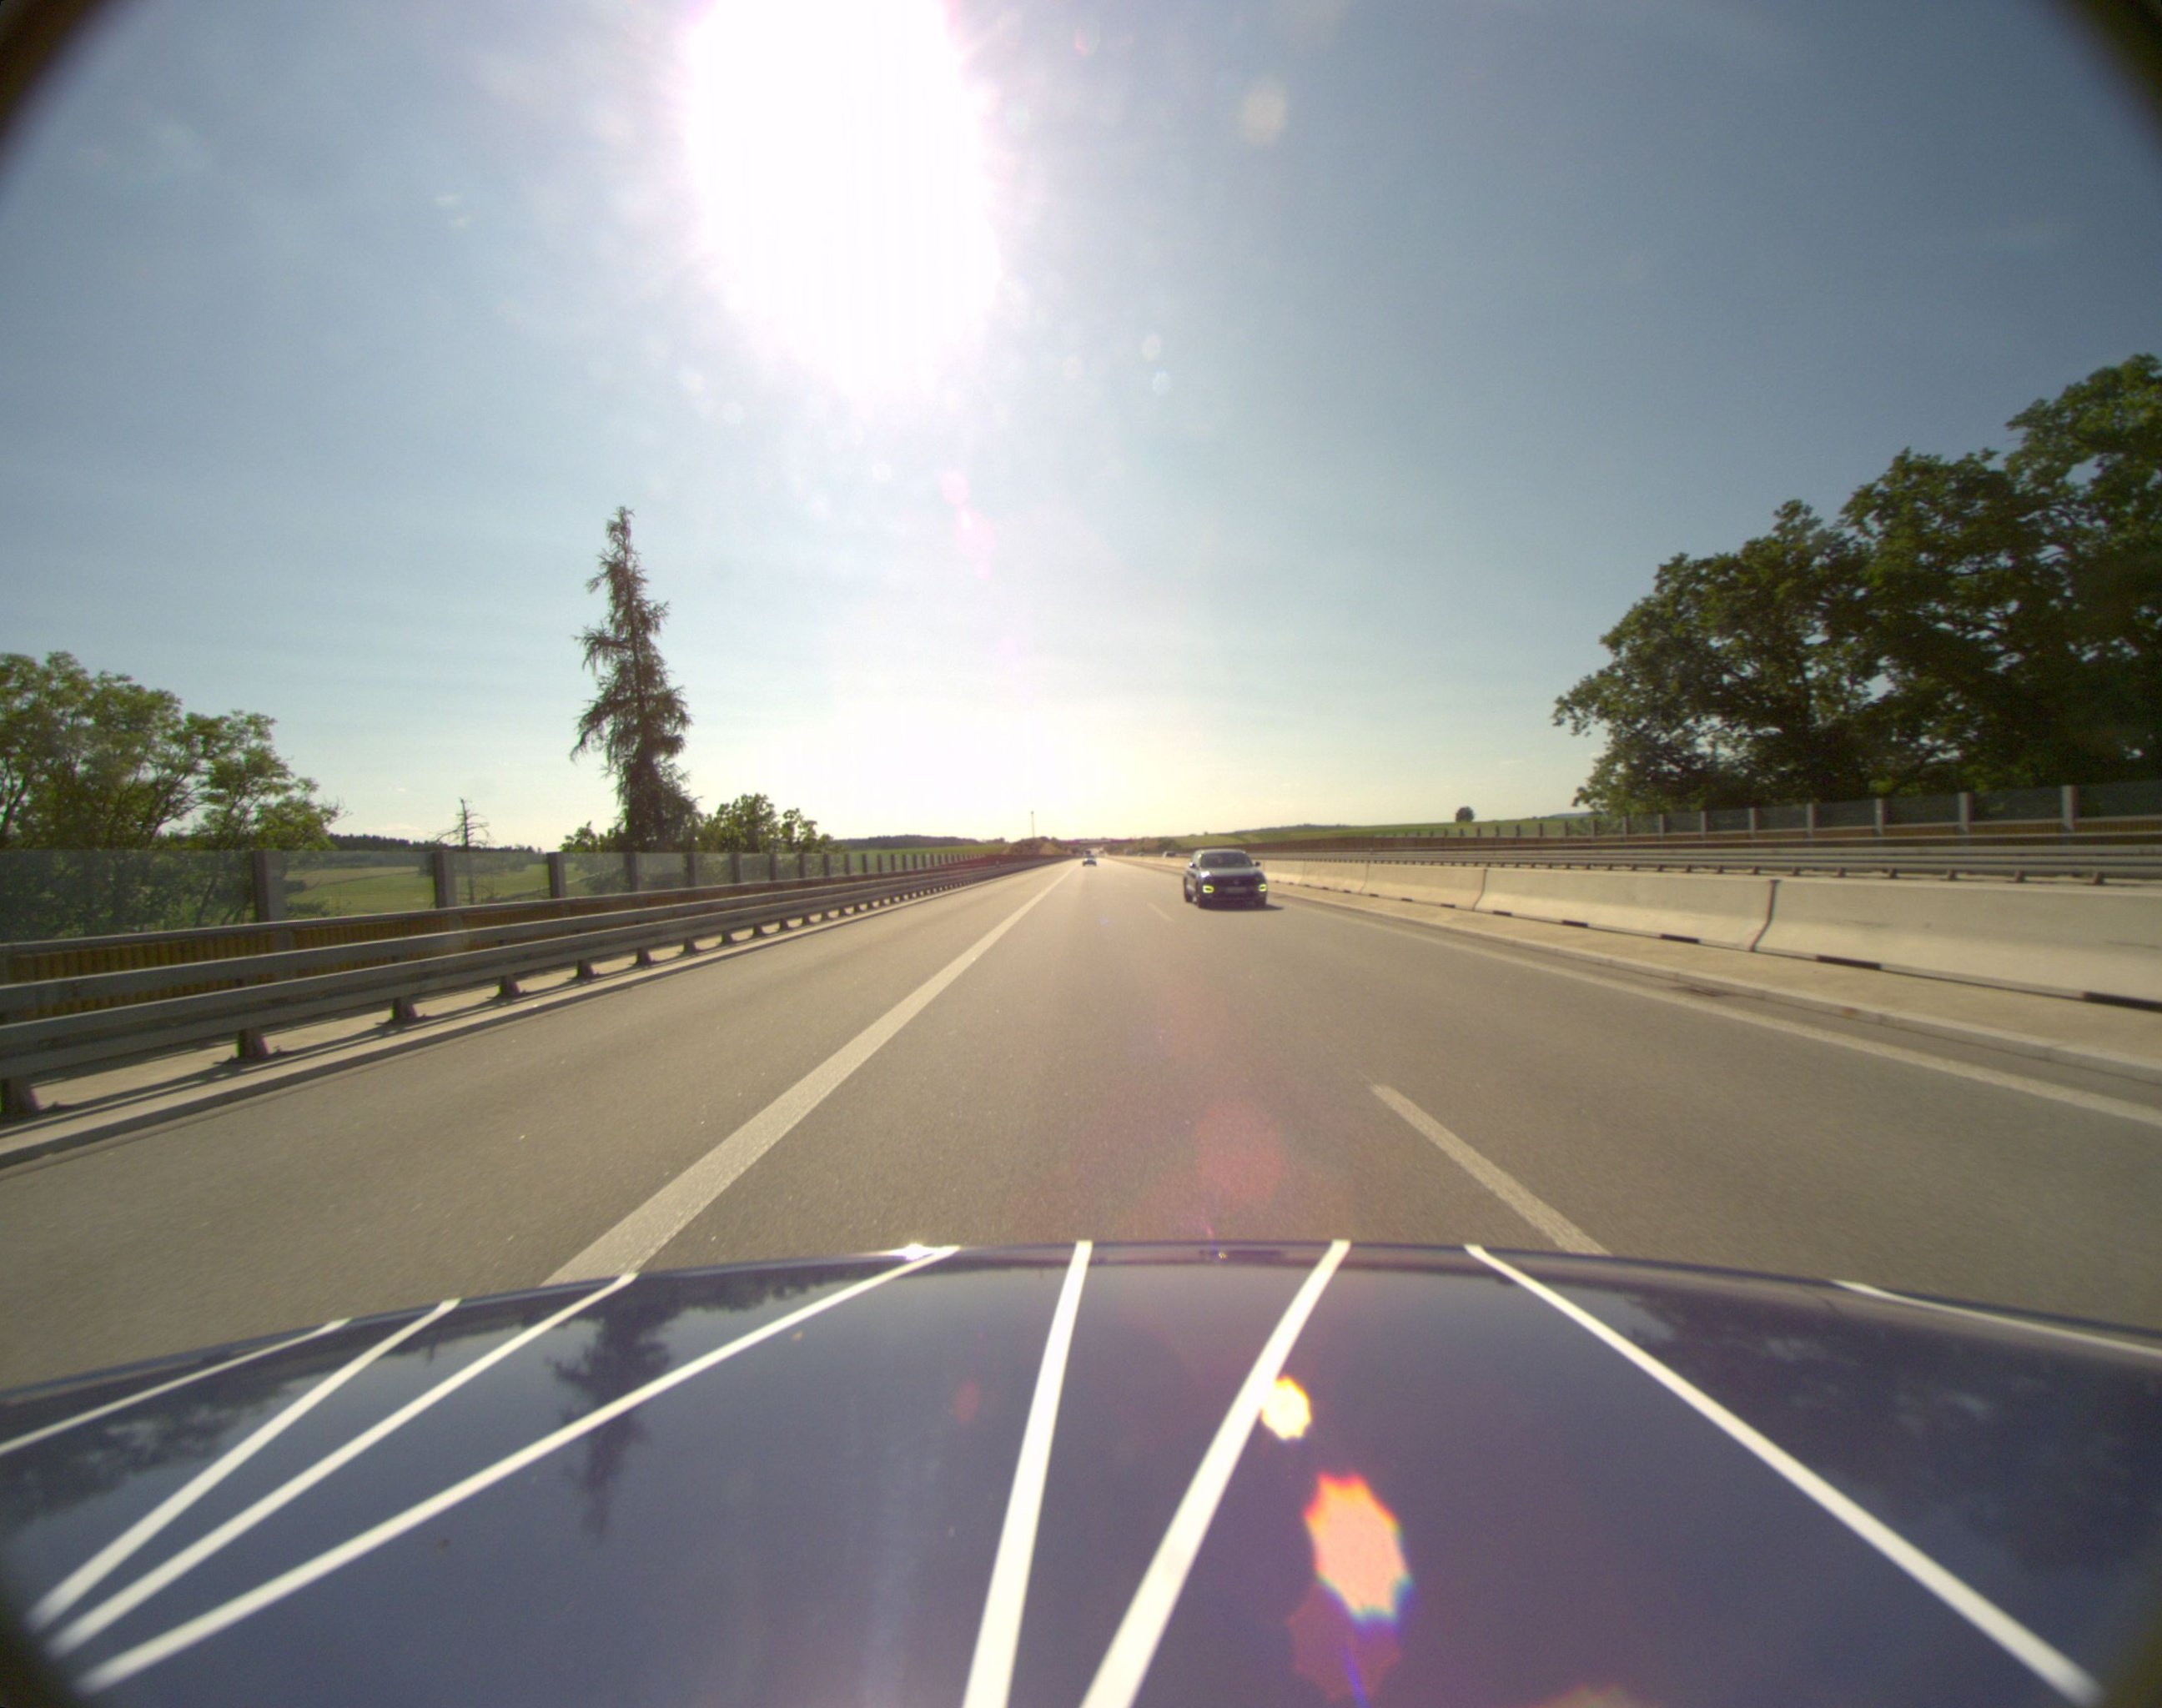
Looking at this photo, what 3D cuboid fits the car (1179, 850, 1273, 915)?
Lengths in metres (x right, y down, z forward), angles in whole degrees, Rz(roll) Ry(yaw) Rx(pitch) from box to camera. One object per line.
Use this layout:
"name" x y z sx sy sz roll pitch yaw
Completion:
"car" 3.975 0.703 21.652 1.776 1.560 4.988 -2 0 1

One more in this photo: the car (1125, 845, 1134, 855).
"car" 13.093 -1.158 205.307 2.028 2.654 6.486 -2 0 0

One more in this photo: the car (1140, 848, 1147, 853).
"car" 18.566 -0.947 225.280 1.651 1.500 4.332 -2 0 1

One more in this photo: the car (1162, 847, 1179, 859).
"car" 11.938 -0.100 101.345 1.731 1.494 4.624 -2 0 0

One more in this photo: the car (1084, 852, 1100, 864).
"car" 1.487 0.476 98.545 1.909 1.449 4.376 -2 0 2
